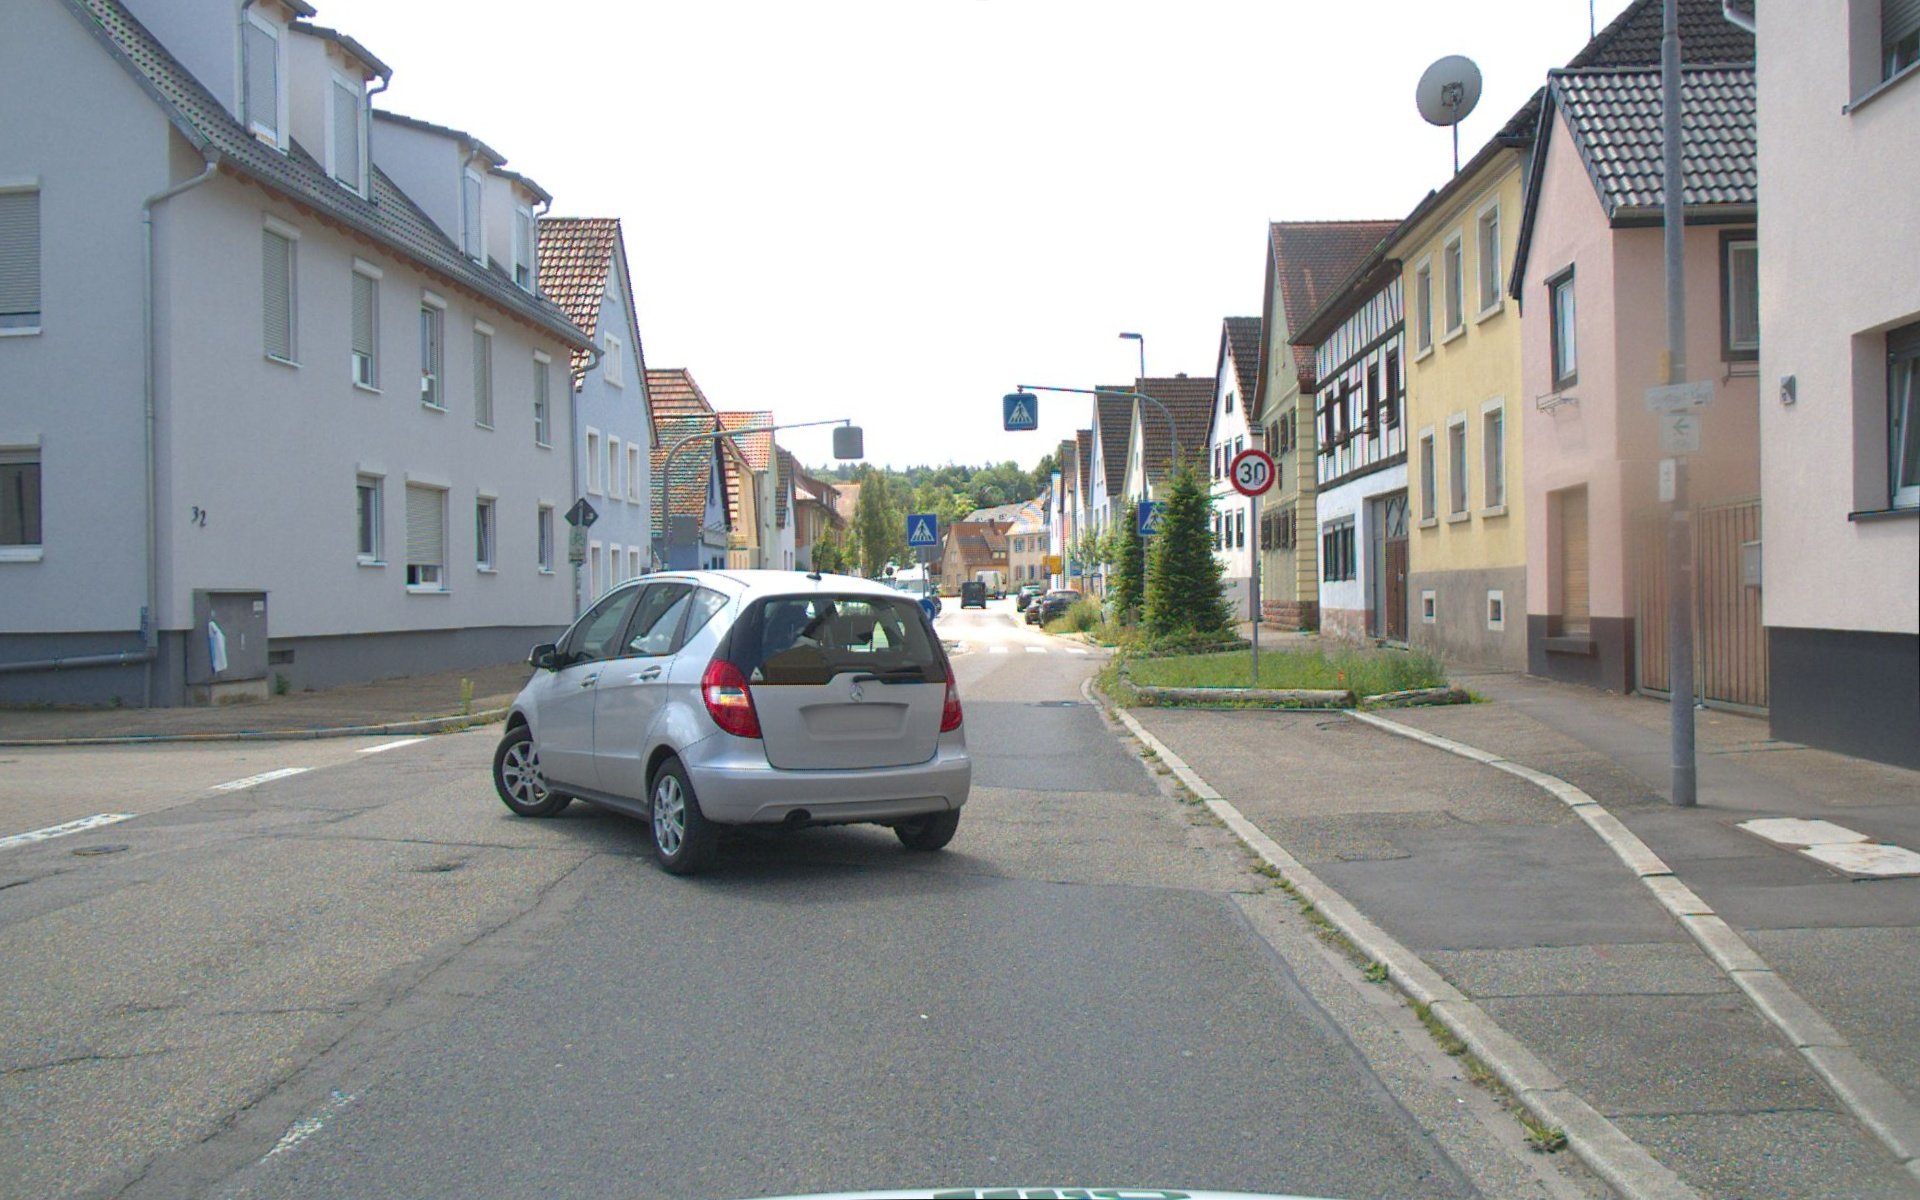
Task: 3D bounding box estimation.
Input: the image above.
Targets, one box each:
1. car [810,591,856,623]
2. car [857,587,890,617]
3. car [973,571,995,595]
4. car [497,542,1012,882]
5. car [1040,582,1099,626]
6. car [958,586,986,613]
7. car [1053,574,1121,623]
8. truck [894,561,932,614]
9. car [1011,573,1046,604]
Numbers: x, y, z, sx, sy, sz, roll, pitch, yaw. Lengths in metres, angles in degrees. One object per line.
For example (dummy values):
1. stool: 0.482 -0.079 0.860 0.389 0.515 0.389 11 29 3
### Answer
1. car: -5.625 0.338 72.964 1.955 1.344 3.704 0 -2 -5
2. car: -4.851 0.133 93.252 1.633 1.624 3.999 0 -2 0
3. car: 2.145 -1.527 151.431 1.953 2.049 3.999 0 -2 0
4. car: -1.438 0.557 10.195 1.792 1.672 3.689 2 0 -31
5. car: 4.095 0.174 62.335 1.953 1.534 3.999 0 -2 0
6. car: 0.889 -0.040 121.678 1.953 1.848 3.998 0 -2 -1
7. car: 4.218 -0.011 55.436 1.953 1.534 3.999 0 -2 0
8. truck: -2.508 -0.623 88.944 1.953 2.581 6.737 0 -2 -1
9. car: 4.366 -0.709 105.802 1.953 1.848 3.998 0 -2 -1
